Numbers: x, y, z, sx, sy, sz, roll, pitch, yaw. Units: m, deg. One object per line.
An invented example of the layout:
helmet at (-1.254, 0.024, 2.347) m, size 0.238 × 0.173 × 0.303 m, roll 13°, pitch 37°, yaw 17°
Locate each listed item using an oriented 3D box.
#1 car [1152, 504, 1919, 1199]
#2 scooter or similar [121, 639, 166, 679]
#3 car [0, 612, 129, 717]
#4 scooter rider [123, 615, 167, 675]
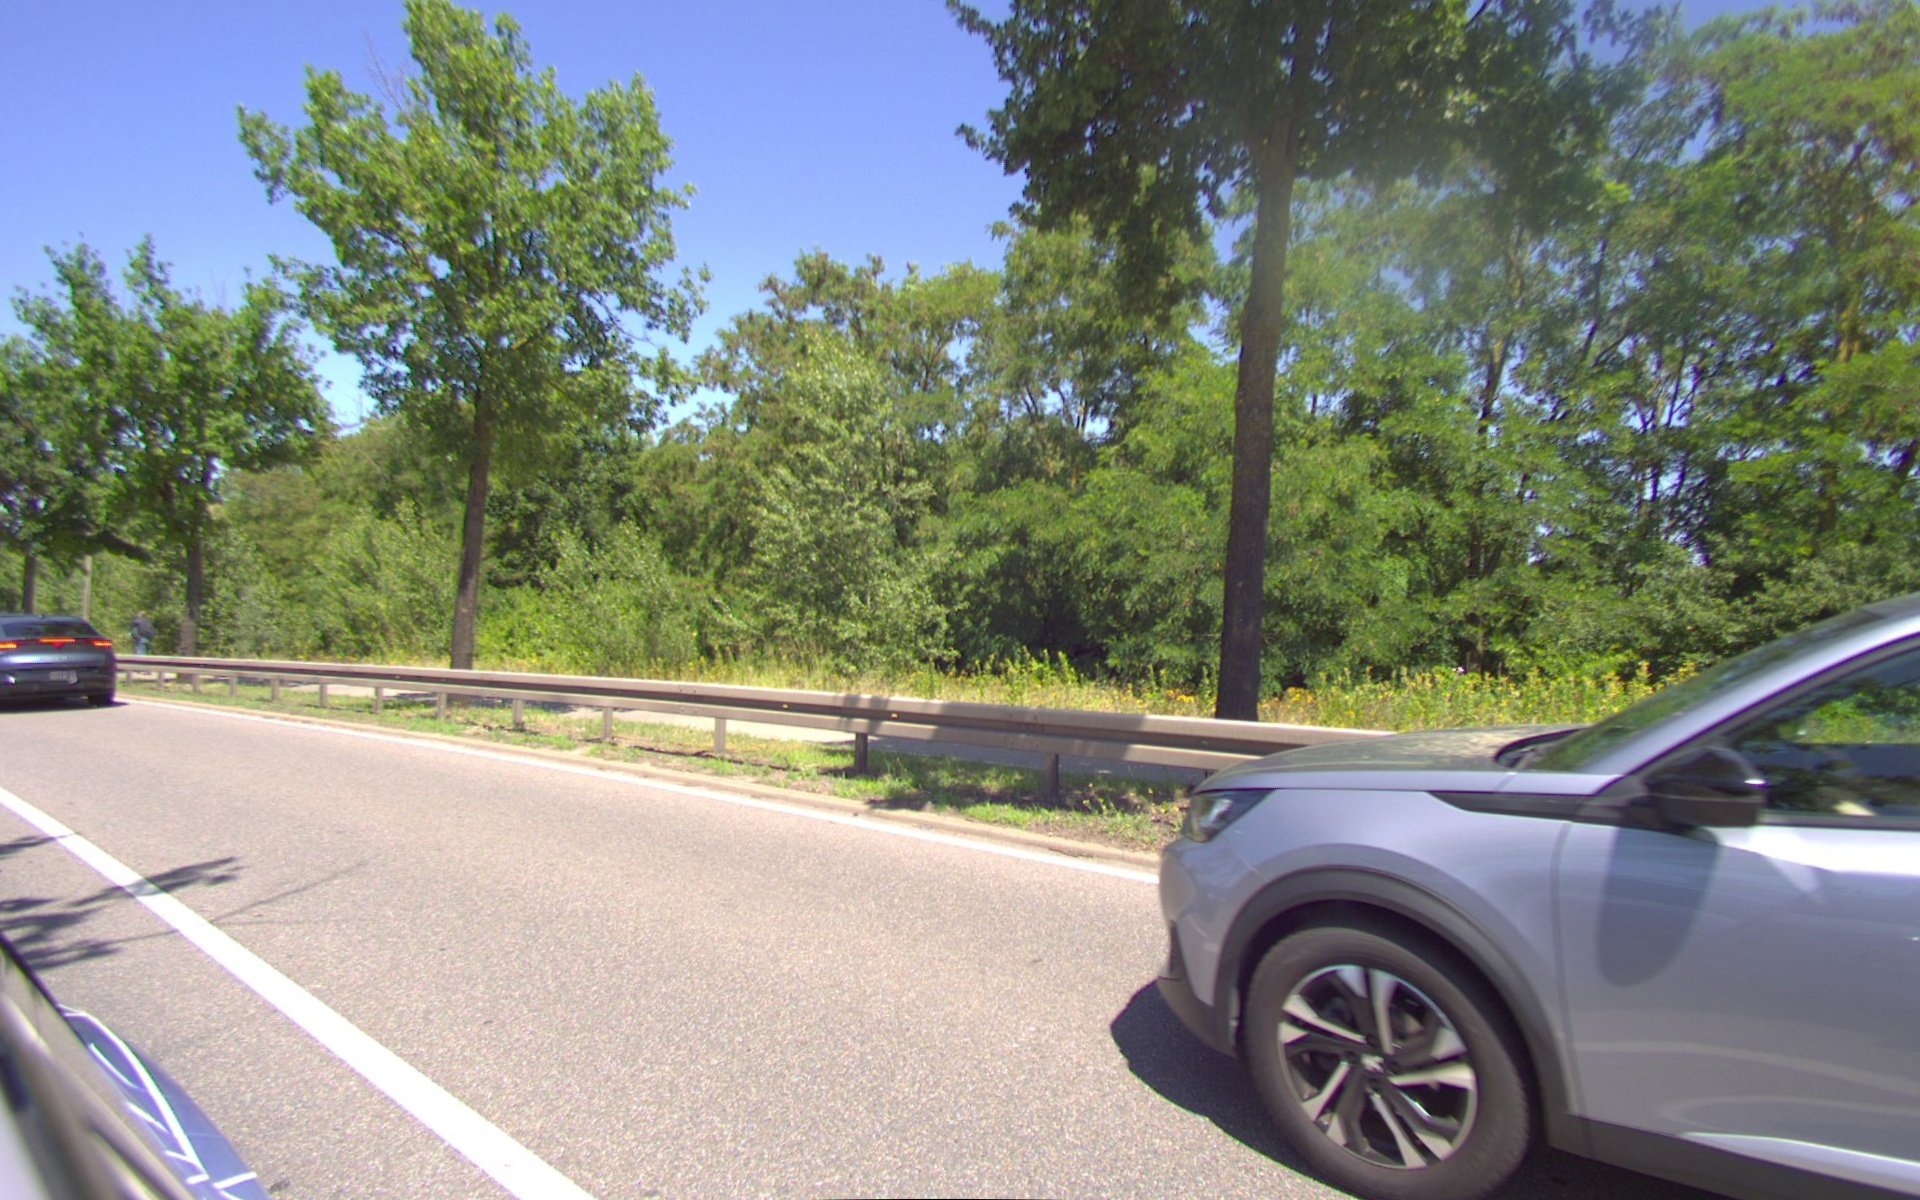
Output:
car at (2.629, 0.611, 2.020) m, size 4.126 × 1.567 × 1.731 m, roll -1°, pitch -1°, yaw 42°
scooter or similar at (-23.647, 1.695, 29.316) m, size 1.093 × 1.099 × 0.770 m, roll -1°, pitch -1°, yaw 37°
car at (-16.240, 1.067, 17.581) m, size 4.386 × 1.615 × 1.851 m, roll -2°, pitch -1°, yaw 38°
scooter rider at (-23.637, 1.290, 29.334) m, size 1.119 × 1.670 × 0.769 m, roll -1°, pitch -1°, yaw 38°
